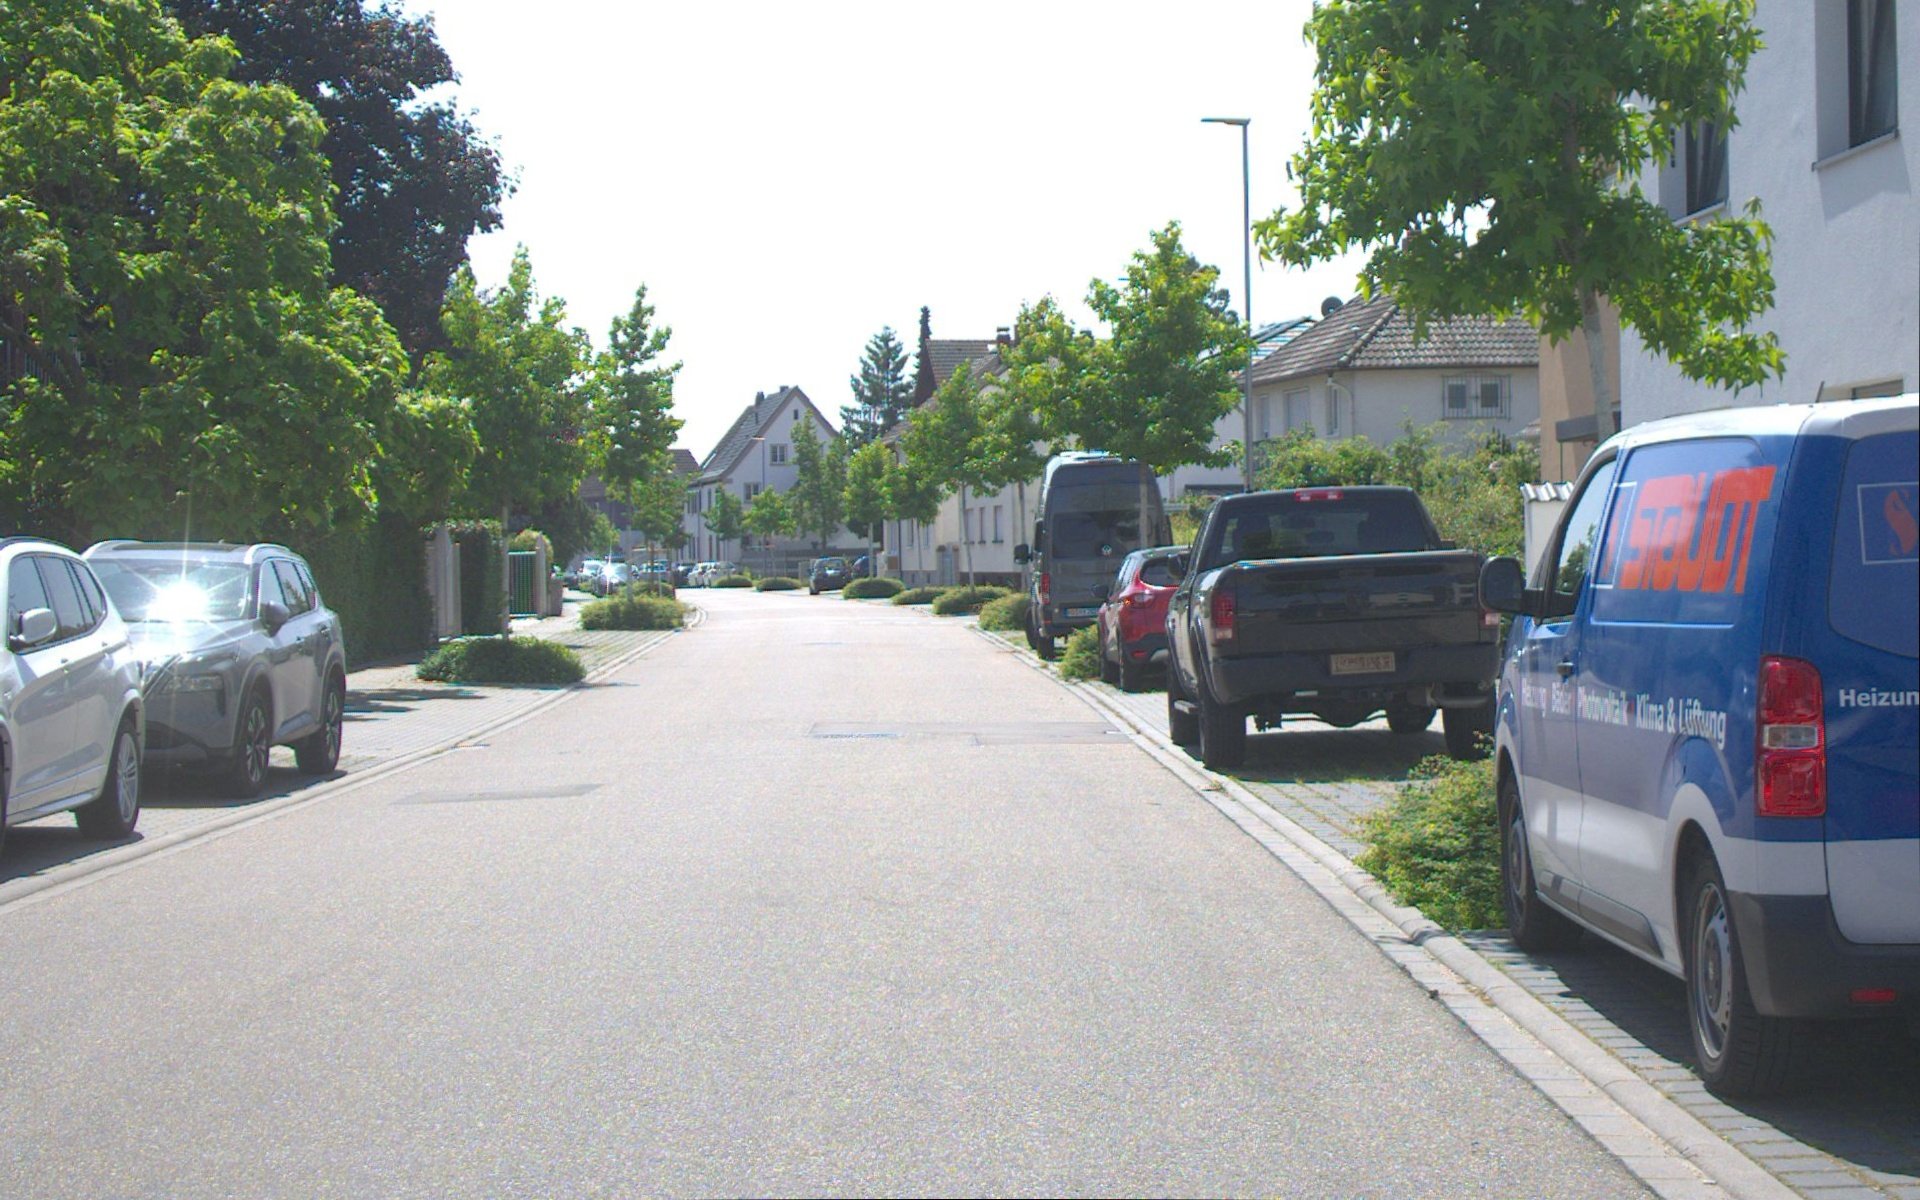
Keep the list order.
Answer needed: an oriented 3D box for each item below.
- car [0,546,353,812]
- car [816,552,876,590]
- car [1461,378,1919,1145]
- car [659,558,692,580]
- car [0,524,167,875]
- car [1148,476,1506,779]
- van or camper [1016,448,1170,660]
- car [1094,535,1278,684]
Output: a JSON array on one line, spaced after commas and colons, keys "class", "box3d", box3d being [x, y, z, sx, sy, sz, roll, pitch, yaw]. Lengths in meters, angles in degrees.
[{"class": "car", "box3d": [-5.608, 0.481, 24.005, 1.993, 1.674, 4.214, -1, 1, 0]}, {"class": "car", "box3d": [-4.806, -1.226, 144.342, 1.993, 1.568, 4.001, -1, 1, -9]}, {"class": "car", "box3d": [2.977, 0.354, 10.839, 2.099, 1.875, 4.843, -1, 1, 1]}, {"class": "car", "box3d": [-16.975, -1.839, 204.750, 1.663, 1.246, 3.933, -1, 1, -9]}, {"class": "car", "box3d": [-5.576, 0.472, 17.726, 1.927, 1.681, 4.498, -1, 1, 0]}, {"class": "car", "box3d": [2.573, 0.152, 25.356, 1.993, 1.940, 5.215, -2, 1, 0]}, {"class": "van or camper", "box3d": [1.892, -0.669, 50.042, 1.993, 2.931, 4.000, -1, 1, -1]}, {"class": "car", "box3d": [2.535, 0.090, 39.264, 1.670, 1.590, 3.556, -1, 1, -3]}]
